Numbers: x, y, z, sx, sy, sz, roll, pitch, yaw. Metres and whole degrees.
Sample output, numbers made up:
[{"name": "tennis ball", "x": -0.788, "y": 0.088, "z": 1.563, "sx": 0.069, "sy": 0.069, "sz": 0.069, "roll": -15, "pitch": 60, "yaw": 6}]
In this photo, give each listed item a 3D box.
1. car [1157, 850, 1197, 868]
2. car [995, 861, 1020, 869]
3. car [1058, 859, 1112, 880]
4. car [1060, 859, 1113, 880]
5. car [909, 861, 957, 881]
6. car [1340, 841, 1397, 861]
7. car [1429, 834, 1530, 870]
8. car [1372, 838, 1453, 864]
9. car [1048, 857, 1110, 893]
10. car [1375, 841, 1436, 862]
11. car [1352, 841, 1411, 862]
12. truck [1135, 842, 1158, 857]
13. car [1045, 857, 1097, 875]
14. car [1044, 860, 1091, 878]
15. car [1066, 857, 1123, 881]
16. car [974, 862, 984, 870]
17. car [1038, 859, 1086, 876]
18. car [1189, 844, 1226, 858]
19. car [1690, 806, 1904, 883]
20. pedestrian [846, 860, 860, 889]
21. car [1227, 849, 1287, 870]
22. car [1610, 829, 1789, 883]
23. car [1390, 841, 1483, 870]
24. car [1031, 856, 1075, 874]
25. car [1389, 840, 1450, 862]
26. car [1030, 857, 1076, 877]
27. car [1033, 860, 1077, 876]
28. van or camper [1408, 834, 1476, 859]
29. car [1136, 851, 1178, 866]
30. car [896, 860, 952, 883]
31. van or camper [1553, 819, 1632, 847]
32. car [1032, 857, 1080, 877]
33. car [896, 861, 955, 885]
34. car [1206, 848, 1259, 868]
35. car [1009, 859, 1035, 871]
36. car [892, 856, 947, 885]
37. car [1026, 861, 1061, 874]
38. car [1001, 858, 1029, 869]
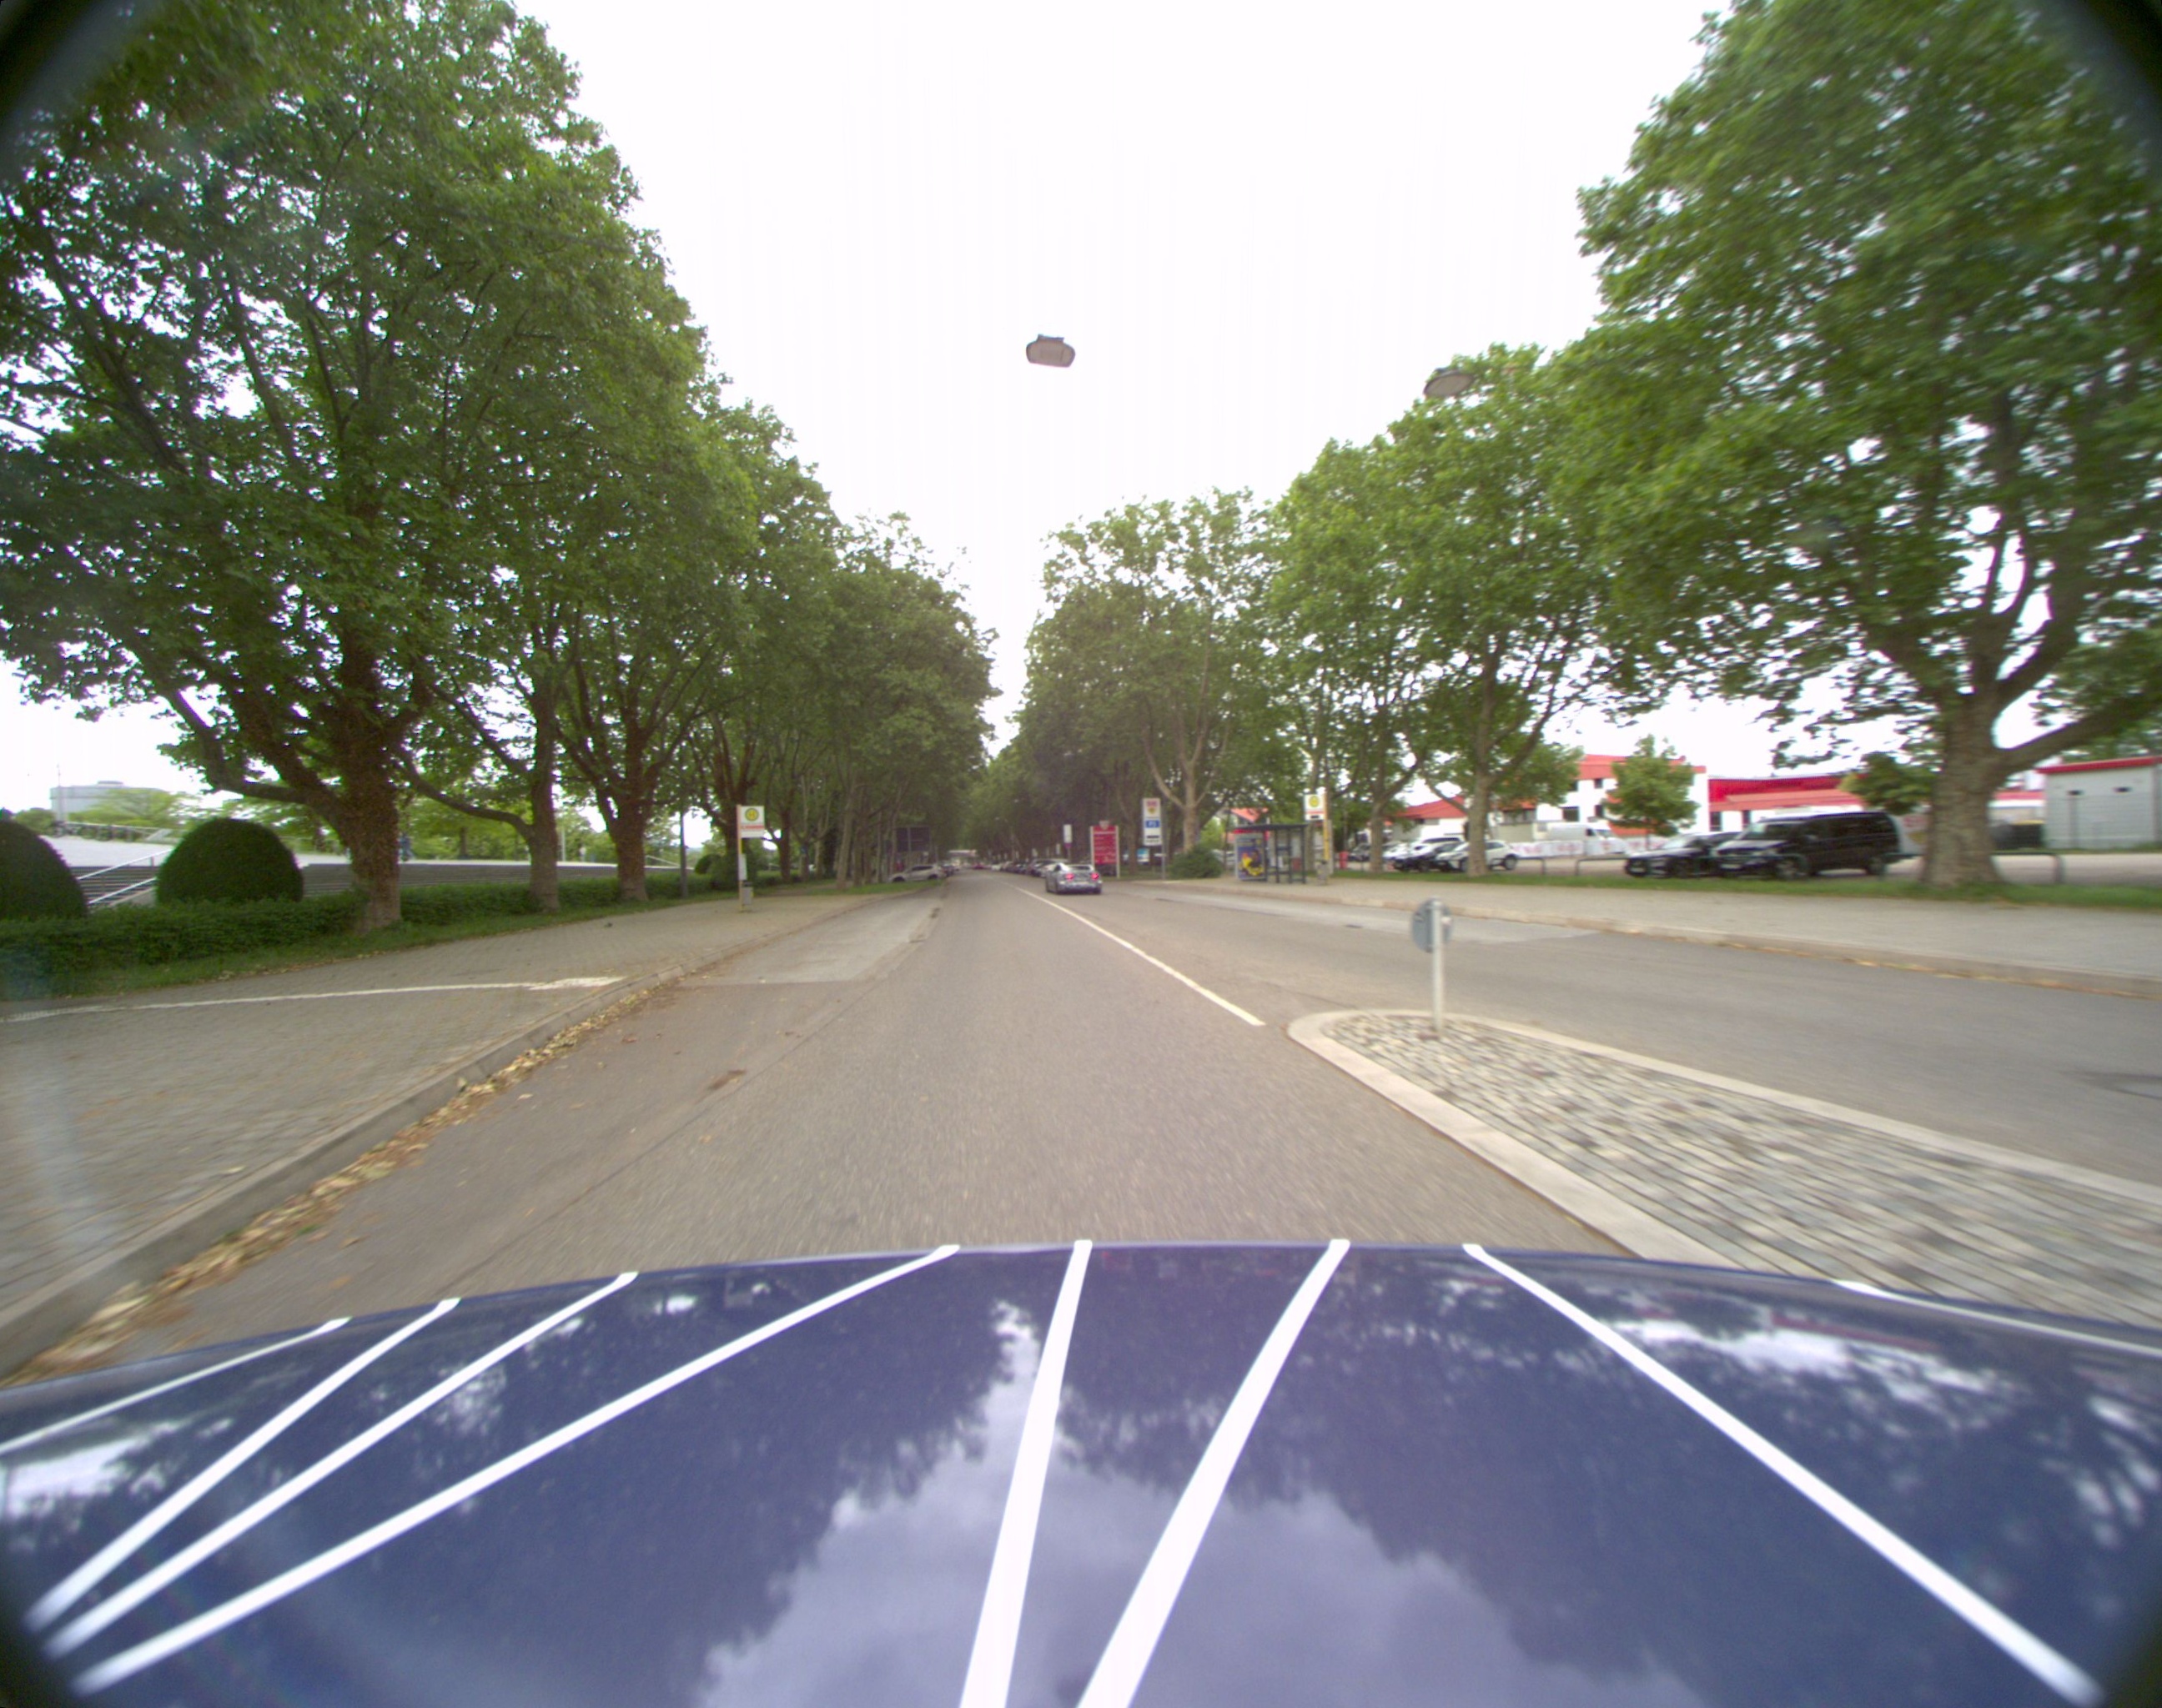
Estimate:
[{"name": "car", "x": 11.405, "y": 0.571, "z": 90.528, "sx": 4.335, "sy": 1.850, "sz": 2.026, "roll": -3, "pitch": 1, "yaw": -10}, {"name": "car", "x": -13.360, "y": 2.008, "z": 138.243, "sx": 4.423, "sy": 1.416, "sz": 1.774, "roll": -1, "pitch": -1, "yaw": -10}, {"name": "car", "x": 0.270, "y": 1.183, "z": 59.428, "sx": 4.006, "sy": 1.377, "sz": 1.910, "roll": -3, "pitch": 1, "yaw": -5}, {"name": "car", "x": 0.434, "y": 1.246, "z": 62.014, "sx": 4.007, "sy": 1.485, "sz": 1.831, "roll": -3, "pitch": 1, "yaw": -9}, {"name": "car", "x": -14.101, "y": 1.601, "z": 72.598, "sx": 4.361, "sy": 1.750, "sz": 1.924, "roll": -2, "pitch": 0, "yaw": -10}, {"name": "car", "x": 25.953, "y": -0.297, "z": 68.632, "sx": 4.335, "sy": 1.539, "sz": 1.957, "roll": -3, "pitch": 1, "yaw": -10}, {"name": "car", "x": 19.717, "y": -0.101, "z": 37.658, "sx": 4.000, "sy": 1.514, "sz": 2.000, "roll": -3, "pitch": 1, "yaw": -8}, {"name": "car", "x": 23.130, "y": -0.192, "z": 53.258, "sx": 4.968, "sy": 1.543, "sz": 2.102, "roll": -3, "pitch": 1, "yaw": 18}, {"name": "car", "x": -0.182, "y": 0.909, "z": 33.591, "sx": 1.907, "sy": 1.444, "sz": 4.811, "roll": -1, "pitch": -1, "yaw": -10}, {"name": "car", "x": 27.304, "y": -0.232, "z": 63.933, "sx": 4.335, "sy": 1.539, "sz": 1.957, "roll": -3, "pitch": 1, "yaw": -10}, {"name": "car", "x": 26.242, "y": -0.228, "z": 66.328, "sx": 4.335, "sy": 1.539, "sz": 1.957, "roll": -3, "pitch": 1, "yaw": -10}, {"name": "truck", "x": 13.225, "y": -0.871, "z": 152.771, "sx": 4.000, "sy": 2.701, "sz": 2.374, "roll": -3, "pitch": 1, "yaw": -10}, {"name": "car", "x": -0.903, "y": 1.079, "z": 67.002, "sx": 4.278, "sy": 1.539, "sz": 1.906, "roll": 0, "pitch": 0, "yaw": -11}, {"name": "car", "x": -1.260, "y": 1.341, "z": 69.600, "sx": 4.000, "sy": 1.396, "sz": 1.884, "roll": -3, "pitch": 1, "yaw": -10}, {"name": "car", "x": 0.967, "y": 1.130, "z": 57.097, "sx": 4.006, "sy": 1.531, "sz": 1.803, "roll": -3, "pitch": 1, "yaw": -7}, {"name": "car", "x": -20.902, "y": 2.365, "z": 155.674, "sx": 1.848, "sy": 1.501, "sz": 4.011, "roll": -3, "pitch": 0, "yaw": -10}, {"name": "car", "x": -1.807, "y": 1.265, "z": 72.021, "sx": 4.203, "sy": 1.346, "sz": 1.965, "roll": -3, "pitch": 1, "yaw": -11}, {"name": "car", "x": 18.825, "y": -0.431, "z": 113.525, "sx": 4.958, "sy": 1.786, "sz": 2.181, "roll": -3, "pitch": 1, "yaw": -11}, {"name": "car", "x": 21.738, "y": -0.291, "z": 23.187, "sx": 4.630, "sy": 2.014, "sz": 2.261, "roll": -3, "pitch": 1, "yaw": -6}, {"name": "pedestrian", "x": -16.496, "y": 1.478, "z": 55.074, "sx": 0.788, "sy": 2.002, "sz": 0.598, "roll": -3, "pitch": 1, "yaw": -25}, {"name": "car", "x": 14.751, "y": 0.429, "z": 63.739, "sx": 4.335, "sy": 1.539, "sz": 2.202, "roll": -3, "pitch": 1, "yaw": -10}, {"name": "car", "x": 21.140, "y": 0.038, "z": 26.093, "sx": 4.640, "sy": 1.559, "sz": 2.107, "roll": -3, "pitch": 1, "yaw": -6}, {"name": "car", "x": 18.796, "y": 0.060, "z": 40.280, "sx": 4.000, "sy": 1.316, "sz": 2.000, "roll": -3, "pitch": 1, "yaw": -9}, {"name": "car", "x": -2.971, "y": 1.144, "z": 79.305, "sx": 4.333, "sy": 1.799, "sz": 1.866, "roll": 0, "pitch": -1, "yaw": -12}, {"name": "car", "x": 27.408, "y": -0.275, "z": 61.614, "sx": 4.232, "sy": 1.539, "sz": 1.788, "roll": -3, "pitch": 1, "yaw": -10}, {"name": "car", "x": -2.855, "y": 1.268, "z": 76.779, "sx": 4.331, "sy": 1.784, "sz": 2.035, "roll": -3, "pitch": 1, "yaw": -9}, {"name": "car", "x": -2.566, "y": 1.368, "z": 74.355, "sx": 4.142, "sy": 1.443, "sz": 2.012, "roll": 0, "pitch": -1, "yaw": -7}, {"name": "van or camper", "x": 28.165, "y": -0.600, "z": 59.294, "sx": 4.335, "sy": 1.699, "sz": 2.130, "roll": -3, "pitch": 1, "yaw": -10}, {"name": "car", "x": 9.740, "y": 0.600, "z": 97.685, "sx": 4.958, "sy": 1.786, "sz": 2.181, "roll": -2, "pitch": 0, "yaw": -11}, {"name": "car", "x": -12.941, "y": 1.462, "z": 62.900, "sx": 4.360, "sy": 1.595, "sz": 1.924, "roll": -4, "pitch": 0, "yaw": -8}, {"name": "van or camper", "x": 40.305, "y": -1.633, "z": 60.033, "sx": 2.000, "sy": 2.002, "sz": 5.298, "roll": -3, "pitch": 0, "yaw": -10}, {"name": "car", "x": -2.410, "y": 1.221, "z": 72.342, "sx": 4.331, "sy": 1.799, "sz": 1.866, "roll": 0, "pitch": -1, "yaw": -9}, {"name": "car", "x": -12.316, "y": 1.498, "z": 60.346, "sx": 4.360, "sy": 1.624, "sz": 1.924, "roll": -4, "pitch": 0, "yaw": -8}, {"name": "car", "x": 14.119, "y": 0.372, "z": 71.003, "sx": 4.335, "sy": 1.699, "sz": 2.130, "roll": -3, "pitch": 1, "yaw": -10}, {"name": "car", "x": -9.422, "y": 1.730, "z": 121.423, "sx": 3.999, "sy": 1.672, "sz": 1.854, "roll": -3, "pitch": 1, "yaw": -8}, {"name": "car", "x": -12.726, "y": 1.309, "z": 60.093, "sx": 4.000, "sy": 2.002, "sz": 1.999, "roll": -4, "pitch": 0, "yaw": -8}, {"name": "car", "x": -4.312, "y": 1.511, "z": 86.842, "sx": 3.990, "sy": 1.412, "sz": 1.755, "roll": 0, "pitch": 0, "yaw": -6}, {"name": "car", "x": -9.656, "y": 1.394, "z": 111.246, "sx": 4.007, "sy": 1.412, "sz": 1.702, "roll": -1, "pitch": -1, "yaw": -10}]
